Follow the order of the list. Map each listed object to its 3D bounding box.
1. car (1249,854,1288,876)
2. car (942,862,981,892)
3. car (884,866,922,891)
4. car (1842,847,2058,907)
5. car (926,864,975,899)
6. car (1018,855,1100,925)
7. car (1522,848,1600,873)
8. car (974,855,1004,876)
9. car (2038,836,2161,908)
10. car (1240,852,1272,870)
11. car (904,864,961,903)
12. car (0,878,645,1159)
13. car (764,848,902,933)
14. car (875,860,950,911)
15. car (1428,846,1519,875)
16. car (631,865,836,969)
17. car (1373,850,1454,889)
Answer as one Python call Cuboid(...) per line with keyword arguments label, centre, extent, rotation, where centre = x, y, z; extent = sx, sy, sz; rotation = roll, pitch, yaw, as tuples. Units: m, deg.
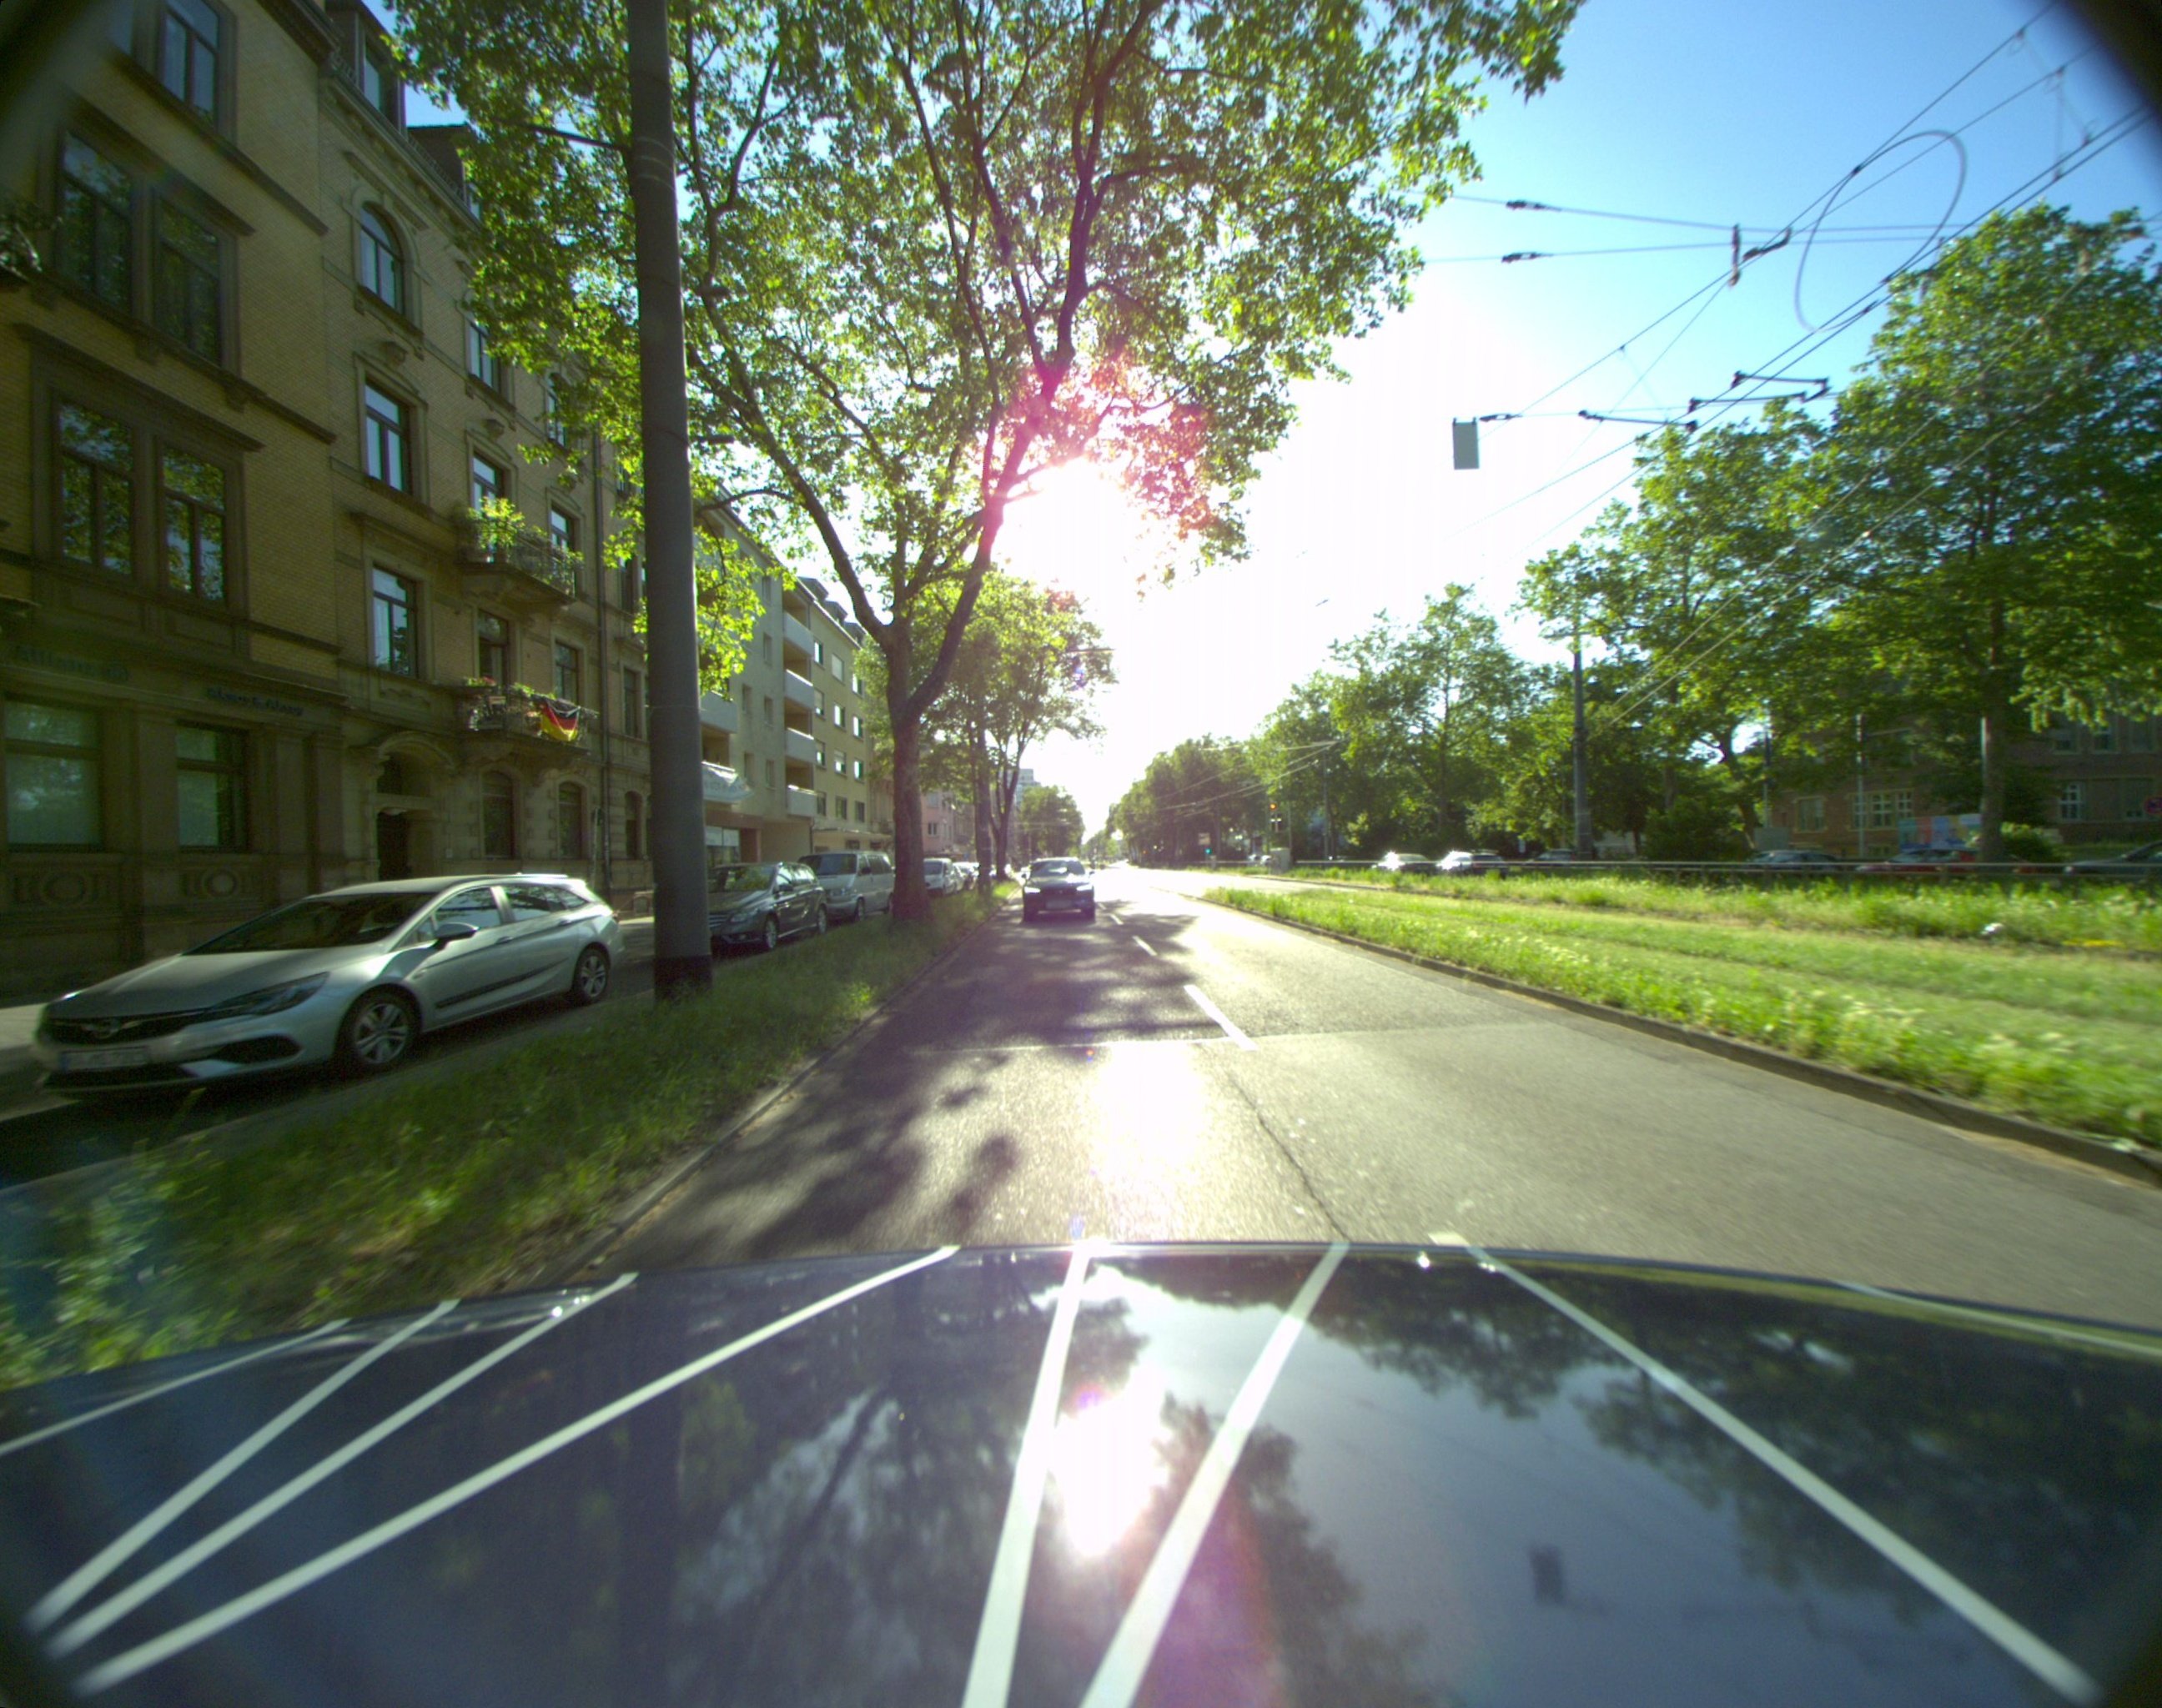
Cuboid(label="car", centre=(14.306, 0.870, 58.143), extent=(1.850, 1.521, 3.874), rotation=(-3, -1, -3))
Cuboid(label="car", centre=(-6.440, 1.246, 41.410), extent=(1.630, 1.468, 3.697), rotation=(-3, -1, -3))
Cuboid(label="car", centre=(-11.790, 1.571, 50.556), extent=(1.698, 1.471, 3.999), rotation=(-2, 0, -3))
Cuboid(label="car", centre=(26.838, 0.684, 23.714), extent=(1.999, 1.612, 3.999), rotation=(-3, -1, -3))
Cuboid(label="car", centre=(-6.215, 1.290, 36.522), extent=(1.565, 1.476, 3.787), rotation=(-4, -1, 1))
Cuboid(label="car", centre=(-0.602, 0.942, 21.384), extent=(1.969, 1.663, 4.000), rotation=(-3, -1, -1))
Cuboid(label="car", centre=(25.977, 0.339, 41.293), extent=(1.599, 1.216, 4.024), rotation=(-3, 0, -1))
Cuboid(label="car", centre=(-6.734, 0.873, 56.161), extent=(1.701, 1.413, 4.169), rotation=(-4, -1, -1))
Cuboid(label="car", centre=(26.852, 0.408, 18.203), extent=(1.999, 1.673, 4.513), rotation=(-3, -1, -3))
Cuboid(label="car", centre=(17.444, 0.737, 75.922), extent=(1.891, 1.610, 4.598), rotation=(-3, -1, -2))
Cuboid(label="car", centre=(-6.252, 1.190, 32.281), extent=(1.515, 1.471, 3.492), rotation=(-4, -1, 2))
Cuboid(label="car", centre=(-6.129, 1.071, 6.876), extent=(1.682, 1.458, 4.669), rotation=(-3, 0, -2))
Cuboid(label="car", centre=(-6.185, 0.854, 19.611), extent=(1.869, 1.805, 4.800), rotation=(-4, -1, 0))
Cuboid(label="car", centre=(-6.158, 1.103, 28.217), extent=(1.629, 1.658, 4.142), rotation=(-4, -1, 2))
Cuboid(label="car", centre=(17.684, 0.316, 34.497), extent=(1.694, 1.128, 4.707), rotation=(-4, -1, 1))
Cuboid(label="car", centre=(-6.123, 1.018, 14.034), extent=(1.709, 1.493, 4.358), rotation=(-4, 0, 0))
Cuboid(label="car", centre=(14.880, 0.689, 34.275), extent=(1.798, 1.542, 4.047), rotation=(-4, -1, 0))
